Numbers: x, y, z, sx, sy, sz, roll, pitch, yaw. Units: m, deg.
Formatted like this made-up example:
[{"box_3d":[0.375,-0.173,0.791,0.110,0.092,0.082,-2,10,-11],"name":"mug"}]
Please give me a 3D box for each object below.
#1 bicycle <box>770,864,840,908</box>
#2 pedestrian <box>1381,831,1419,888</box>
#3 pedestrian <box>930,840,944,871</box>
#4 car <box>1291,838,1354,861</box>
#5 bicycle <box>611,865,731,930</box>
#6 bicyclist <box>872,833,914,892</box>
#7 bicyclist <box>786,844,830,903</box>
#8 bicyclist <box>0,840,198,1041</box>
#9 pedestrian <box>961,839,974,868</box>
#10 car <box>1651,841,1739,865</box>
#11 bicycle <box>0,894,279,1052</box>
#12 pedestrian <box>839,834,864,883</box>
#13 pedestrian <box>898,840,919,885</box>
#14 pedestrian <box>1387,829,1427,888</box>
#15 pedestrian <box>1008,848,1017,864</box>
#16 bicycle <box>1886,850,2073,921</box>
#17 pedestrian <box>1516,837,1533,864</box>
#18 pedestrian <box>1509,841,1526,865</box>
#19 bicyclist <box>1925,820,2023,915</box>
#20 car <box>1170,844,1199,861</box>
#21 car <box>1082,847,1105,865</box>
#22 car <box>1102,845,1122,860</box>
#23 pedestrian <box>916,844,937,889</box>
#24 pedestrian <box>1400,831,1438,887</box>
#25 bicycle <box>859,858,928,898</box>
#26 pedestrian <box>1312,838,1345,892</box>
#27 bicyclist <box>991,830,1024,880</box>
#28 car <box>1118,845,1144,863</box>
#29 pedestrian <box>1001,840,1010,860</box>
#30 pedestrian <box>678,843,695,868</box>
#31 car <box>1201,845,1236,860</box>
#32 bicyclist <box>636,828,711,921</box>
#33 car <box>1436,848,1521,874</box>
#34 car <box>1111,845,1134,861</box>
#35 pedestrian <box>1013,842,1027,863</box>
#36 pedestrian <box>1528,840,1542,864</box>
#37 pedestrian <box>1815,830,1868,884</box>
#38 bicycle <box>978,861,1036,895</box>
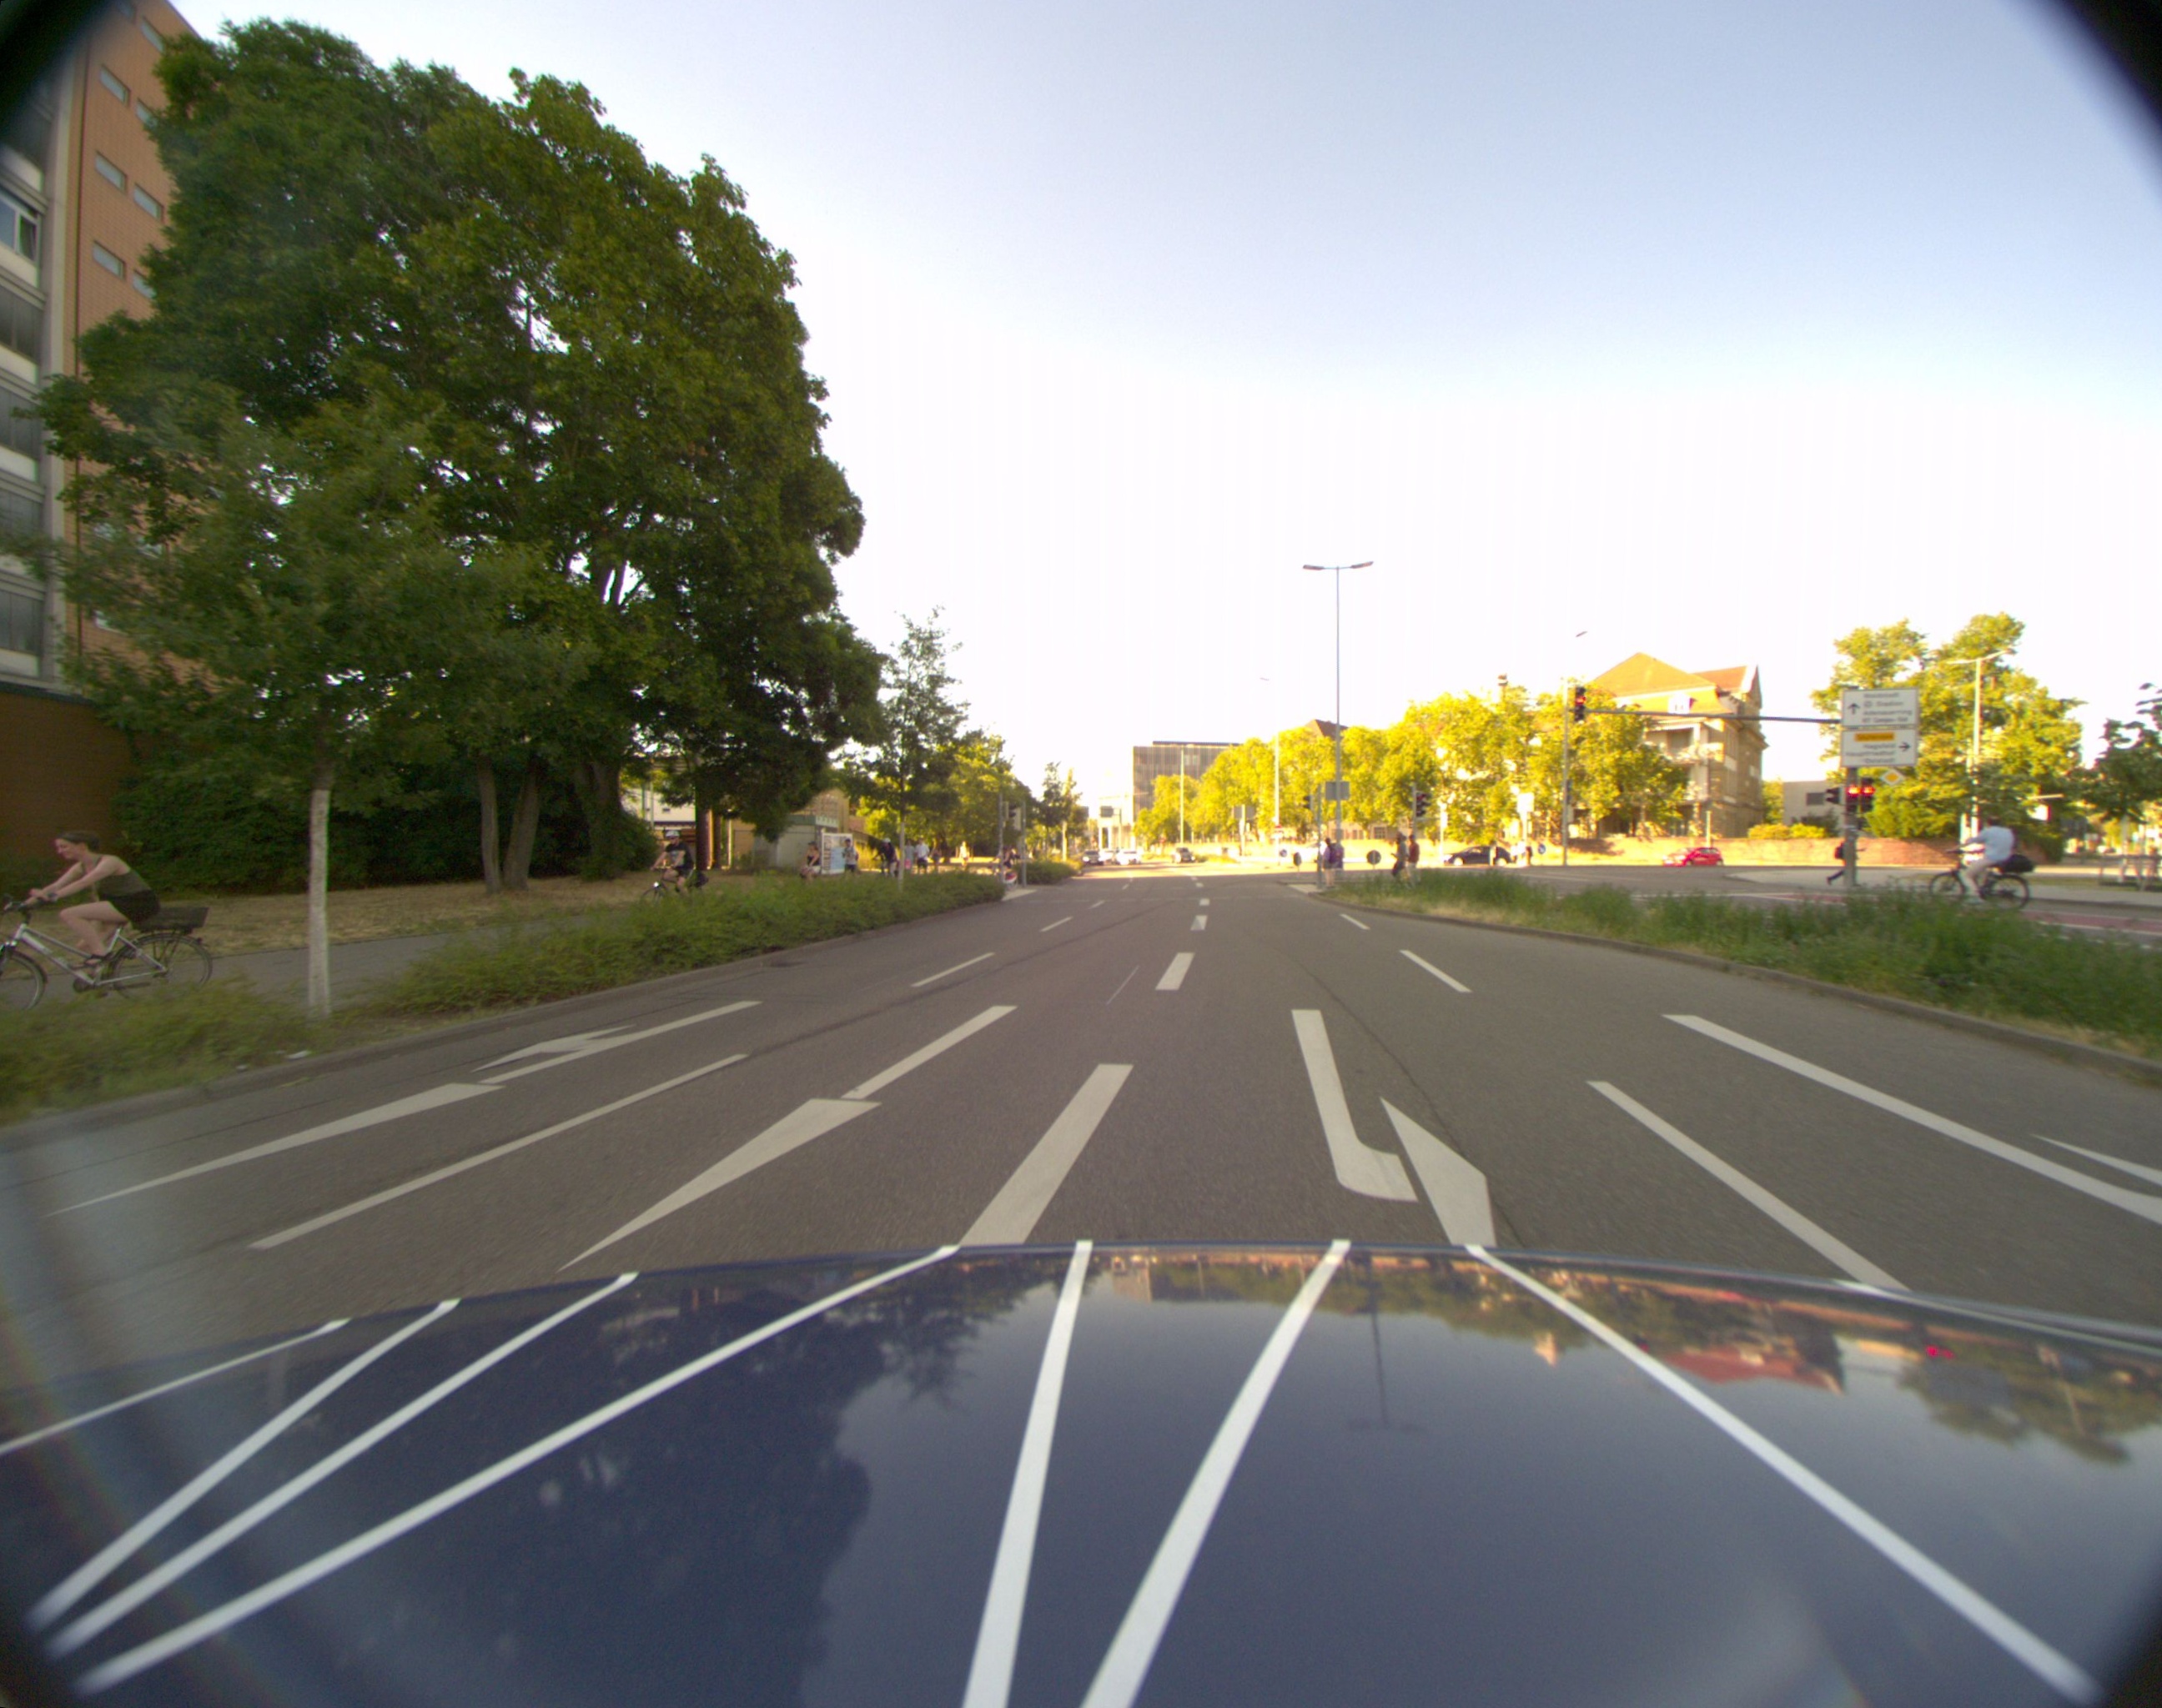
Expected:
[{"box_3d":[-7.355,0.839,20.340,0.718,1.114,1.872,-1,-1,20],"name":"bicycle"},{"box_3d":[9.790,0.162,23.319,0.926,1.731,0.757,0,1,10],"name":"pedestrian"},{"box_3d":[-7.257,0.062,38.327,0.622,1.565,0.639,0,1,-6],"name":"pedestrian"},{"box_3d":[18.815,-0.345,59.415,2.198,1.673,4.598,0,-1,-23],"name":"car"},{"box_3d":[-8.261,0.836,15.447,0.779,1.149,2.293,0,1,14],"name":"bicycle"},{"box_3d":[-5.974,0.258,24.195,0.779,1.823,1.094,0,1,21],"name":"bicyclist"},{"box_3d":[-7.323,0.518,20.414,0.716,1.539,0.851,-1,-1,20],"name":"bicyclist"},{"box_3d":[-9.205,0.723,7.031,0.779,1.668,1.094,3,2,13],"name":"bicyclist"},{"box_3d":[-6.853,-0.032,45.854,0.676,1.694,0.876,0,1,-11],"name":"pedestrian"},{"box_3d":[41.408,-0.060,51.297,4.608,1.576,2.193,0,-1,-12],"name":"car"},{"box_3d":[-9.198,1.046,7.081,0.779,1.149,2.293,3,2,13],"name":"bicycle"},{"box_3d":[-7.994,0.159,26.492,0.622,1.689,0.630,0,1,3],"name":"pedestrian"},{"box_3d":[-7.152,0.333,31.481,0.624,1.859,0.575,-2,2,-45],"name":"pedestrian"},{"box_3d":[9.652,0.128,22.536,0.926,1.731,0.757,0,1,10],"name":"pedestrian"},{"box_3d":[-6.686,0.168,73.736,0.763,1.534,0.846,0,1,-11],"name":"pedestrian"},{"box_3d":[17.828,0.570,15.213,0.741,1.248,2.556,-1,1,1],"name":"bicycle"},{"box_3d":[31.540,-0.272,54.005,0.871,1.884,0.713,1,5,18],"name":"pedestrian"},{"box_3d":[30.723,-0.063,53.519,0.871,1.665,0.713,1,5,18],"name":"pedestrian"},{"box_3d":[17.825,0.247,15.193,0.741,1.822,1.013,-1,2,1],"name":"bicyclist"},{"box_3d":[9.253,-0.157,68.398,1.924,1.510,4.016,0,1,-2],"name":"car"},{"box_3d":[1.077,0.136,66.619,1.802,1.510,3.998,0,1,-2],"name":"car"},{"box_3d":[3.322,-0.206,82.296,1.924,1.510,4.016,0,1,-2],"name":"car"},{"box_3d":[-6.448,0.510,31.758,0.624,1.859,0.575,-2,2,-45],"name":"pedestrian"},{"box_3d":[10.678,0.159,24.040,0.926,1.731,0.788,0,1,10],"name":"pedestrian"},{"box_3d":[-5.937,0.729,24.278,0.779,1.149,2.584,0,1,21],"name":"bicycle"},{"box_3d":[8.056,0.354,24.777,0.926,1.731,0.757,0,1,10],"name":"pedestrian"},{"box_3d":[-2.671,0.023,27.646,0.851,1.778,0.715,-3,2,-45],"name":"bicyclist"},{"box_3d":[4.456,-0.030,68.316,1.802,1.510,4.429,0,1,-2],"name":"car"},{"box_3d":[-6.521,-0.366,65.637,0.712,1.703,0.733,0,1,-6],"name":"pedestrian"},{"box_3d":[-32.020,0.143,61.646,0.899,2.002,0.868,0,1,0],"name":"pedestrian"},{"box_3d":[16.087,-0.195,89.077,2.158,1.611,4.355,-1,1,-18],"name":"car"},{"box_3d":[-8.256,0.393,15.435,0.779,1.820,1.094,0,1,14],"name":"bicyclist"},{"box_3d":[26.174,0.474,50.225,4.598,1.576,2.198,-1,-1,15],"name":"car"},{"box_3d":[4.100,-0.118,75.647,1.924,1.510,4.016,0,1,-2],"name":"car"},{"box_3d":[-5.198,-0.148,64.729,1.019,1.739,0.849,0,1,-11],"name":"pedestrian"},{"box_3d":[32.585,-0.153,54.521,0.791,1.644,0.714,3,6,36],"name":"pedestrian"},{"box_3d":[23.949,0.080,23.938,0.898,1.675,0.748,0,1,10],"name":"pedestrian"},{"box_3d":[-2.658,0.851,27.642,2.070,1.115,0.717,-3,1,-45],"name":"bicycle"}]
